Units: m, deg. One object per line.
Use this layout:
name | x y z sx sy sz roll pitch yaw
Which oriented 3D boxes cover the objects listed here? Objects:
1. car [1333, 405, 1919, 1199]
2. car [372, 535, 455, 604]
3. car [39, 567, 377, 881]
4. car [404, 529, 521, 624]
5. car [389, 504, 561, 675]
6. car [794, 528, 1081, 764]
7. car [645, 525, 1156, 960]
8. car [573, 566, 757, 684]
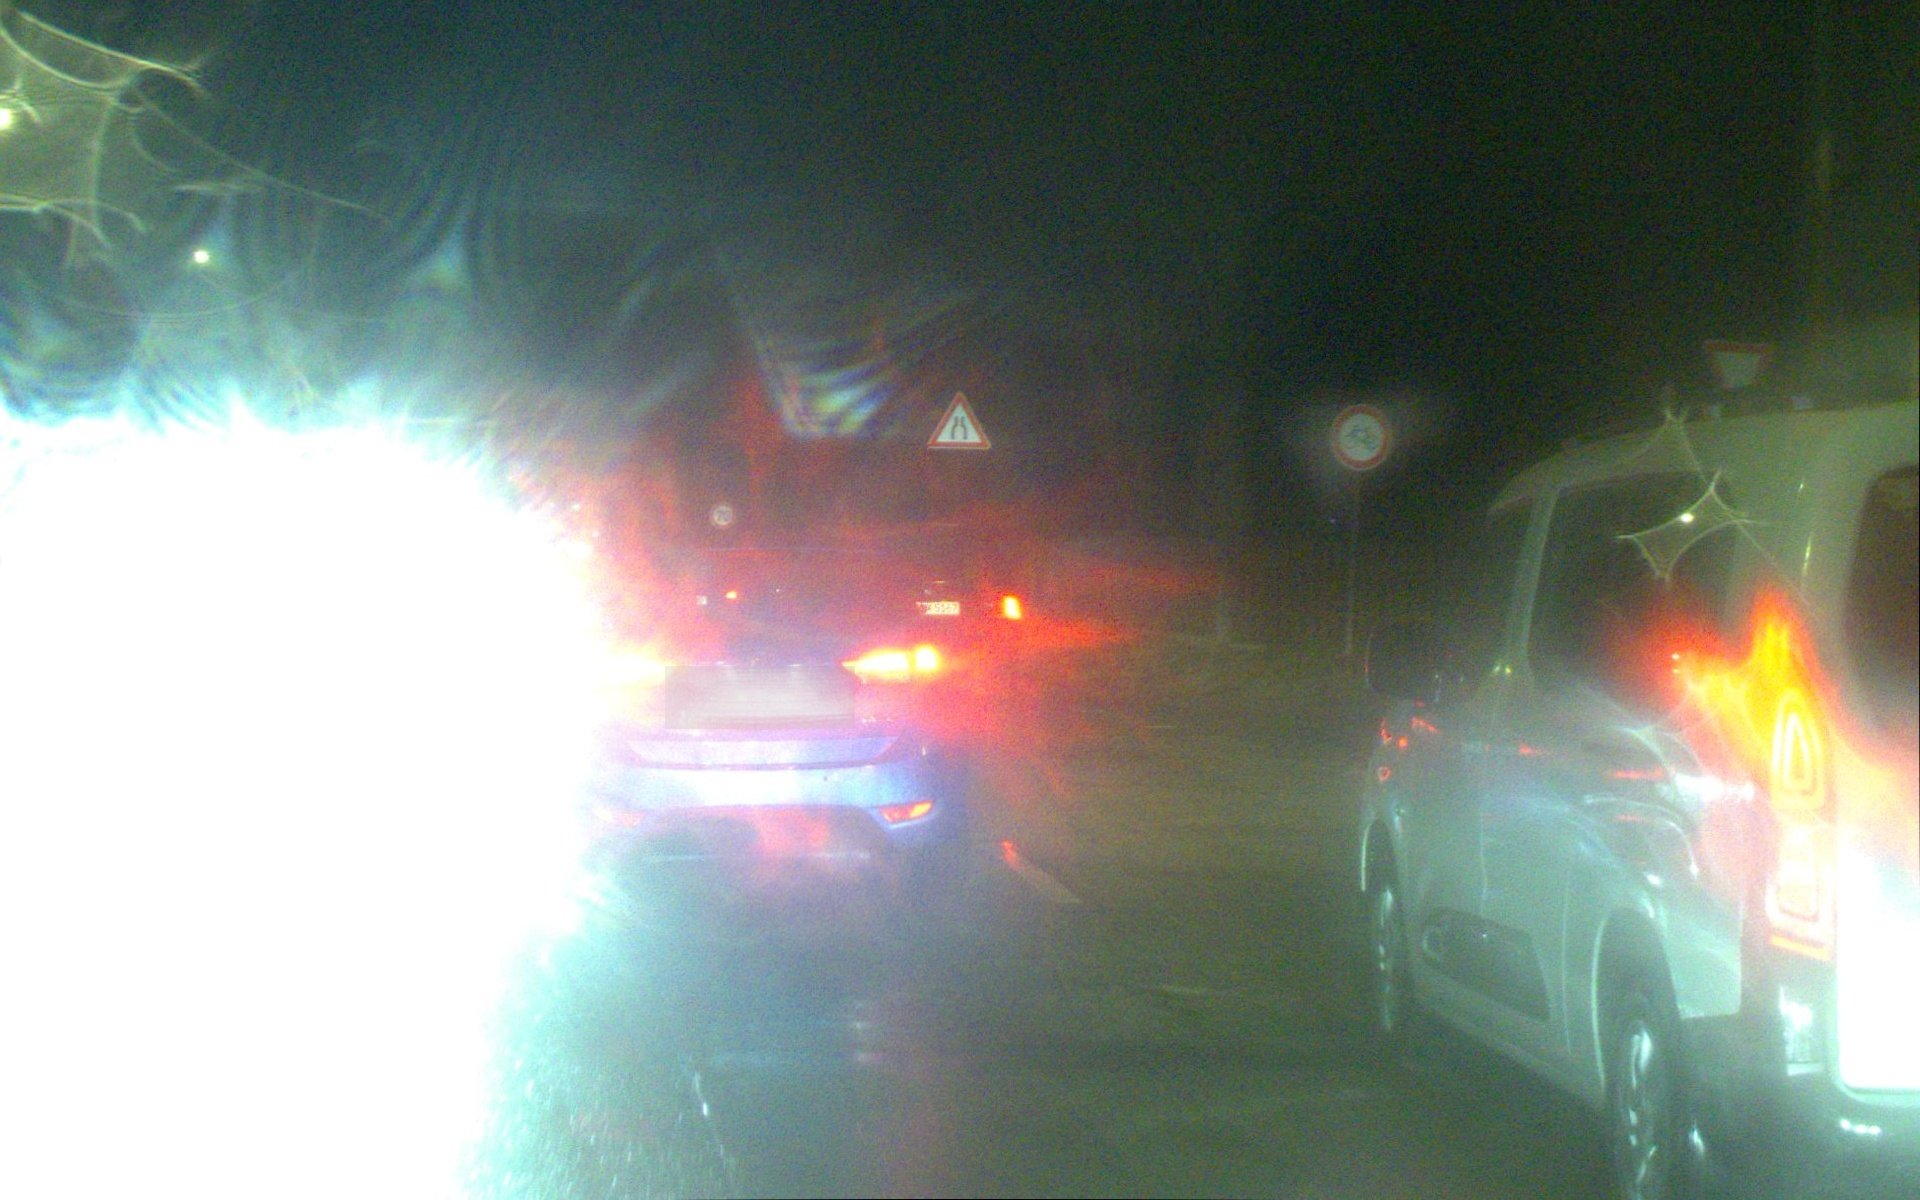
car | 2.171 0.565 8.252 1.851 1.858 4.341 1 1 -3
car | -14.253 -0.806 89.541 1.993 1.726 4.001 1 1 -11
car | -5.089 0.751 23.383 2.014 1.880 4.453 1 1 -12
car | -9.494 -0.465 65.383 1.993 1.726 4.001 1 1 -11
car | -6.038 -0.153 42.699 1.993 2.007 4.001 1 1 -9
car | -0.285 0.372 31.883 1.968 2.040 4.001 1 1 -10
car | -0.382 0.536 15.921 2.014 1.711 4.452 1 1 -4
car | -4.635 0.362 53.575 1.993 1.712 4.001 1 1 -18
